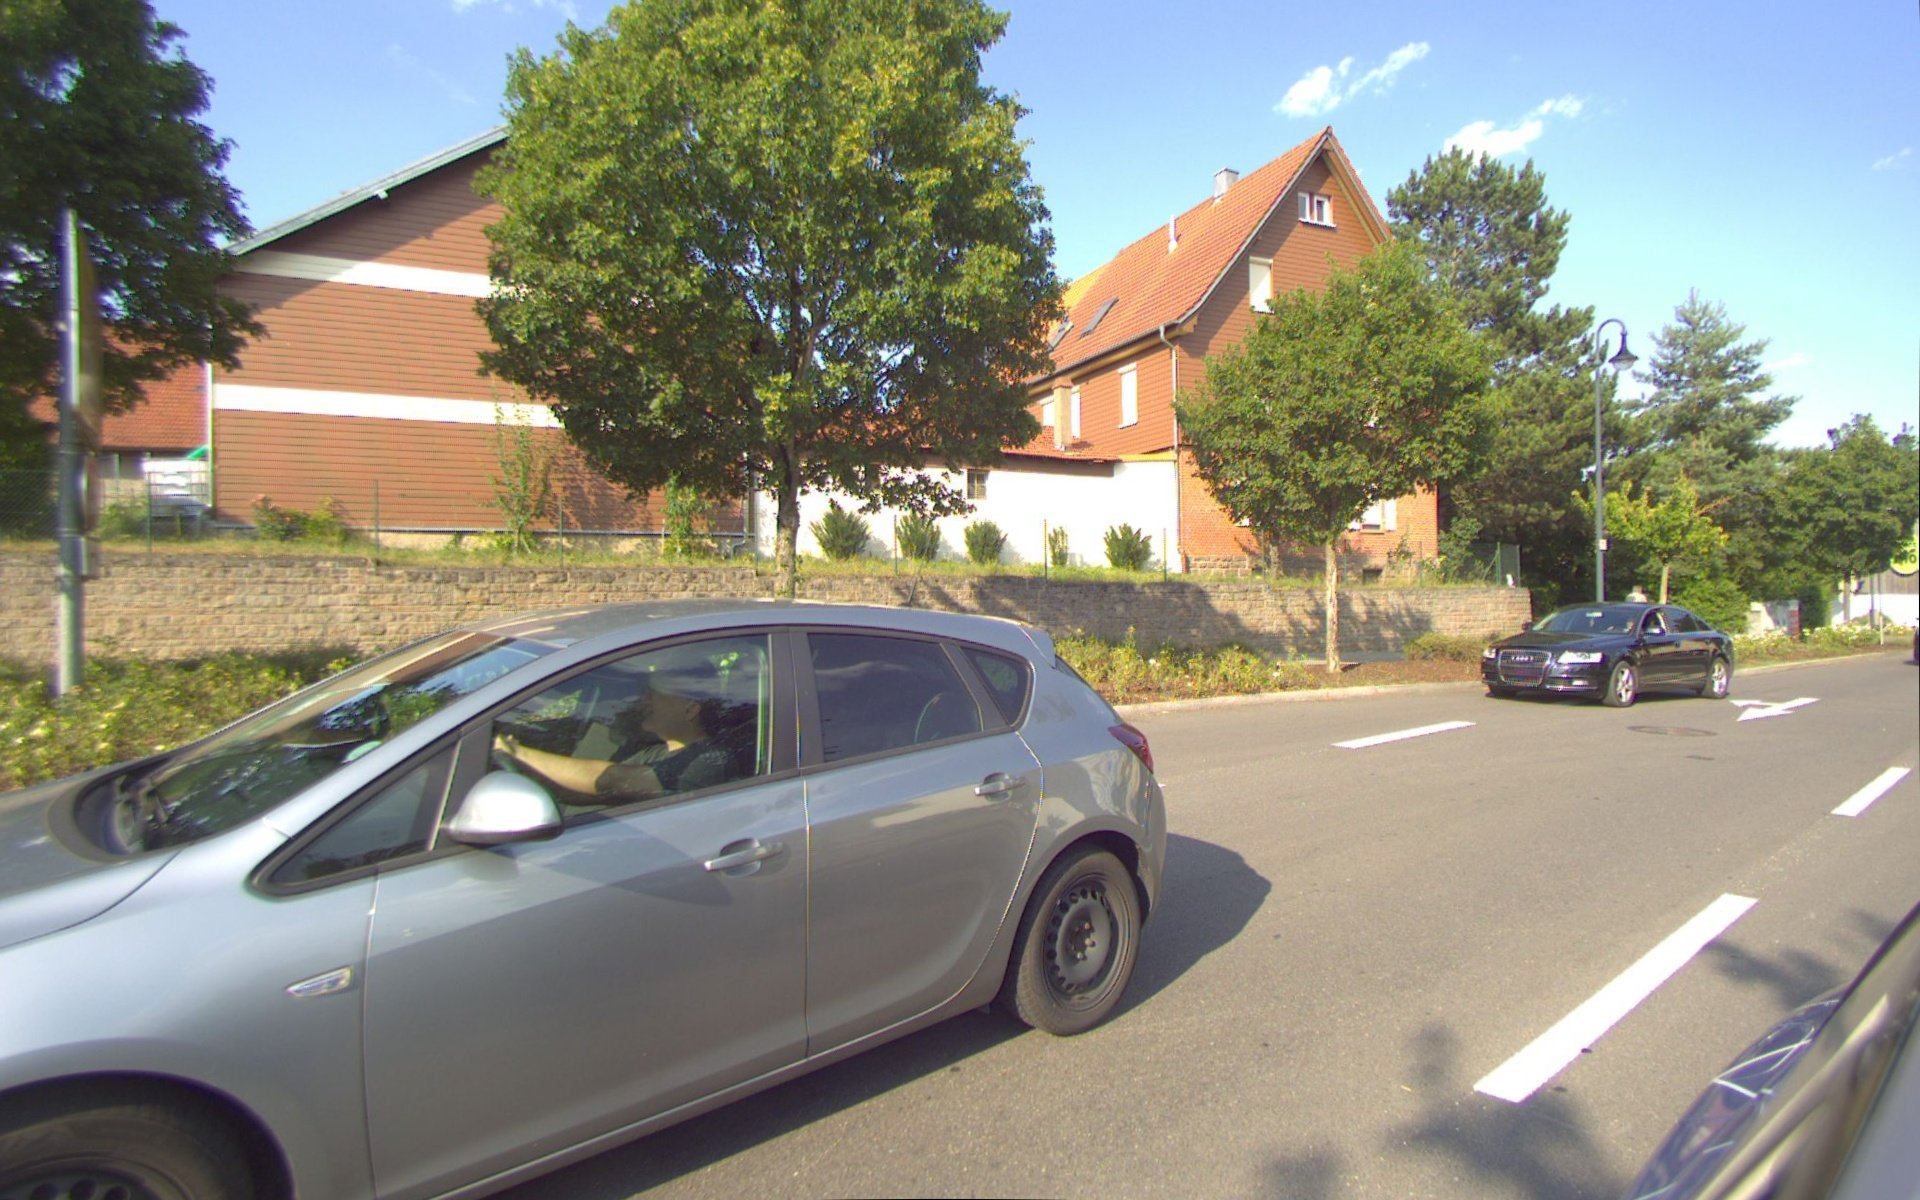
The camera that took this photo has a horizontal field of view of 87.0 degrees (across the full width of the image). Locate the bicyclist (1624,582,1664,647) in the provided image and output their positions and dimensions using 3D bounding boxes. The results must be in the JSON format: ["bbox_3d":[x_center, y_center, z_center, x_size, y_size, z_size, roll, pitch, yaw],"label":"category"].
[{"bbox_3d":[18.187,0.376,26.921,0.719,1.699,0.605,0,0,-28],"label":"bicyclist"}]

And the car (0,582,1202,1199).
[{"bbox_3d":[-1.199,0.688,3.080,4.095,1.460,1.746,-1,0,-41],"label":"car"}]

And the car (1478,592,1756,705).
[{"bbox_3d":[9.810,0.617,15.024,4.499,1.453,1.688,0,0,-31],"label":"car"}]
